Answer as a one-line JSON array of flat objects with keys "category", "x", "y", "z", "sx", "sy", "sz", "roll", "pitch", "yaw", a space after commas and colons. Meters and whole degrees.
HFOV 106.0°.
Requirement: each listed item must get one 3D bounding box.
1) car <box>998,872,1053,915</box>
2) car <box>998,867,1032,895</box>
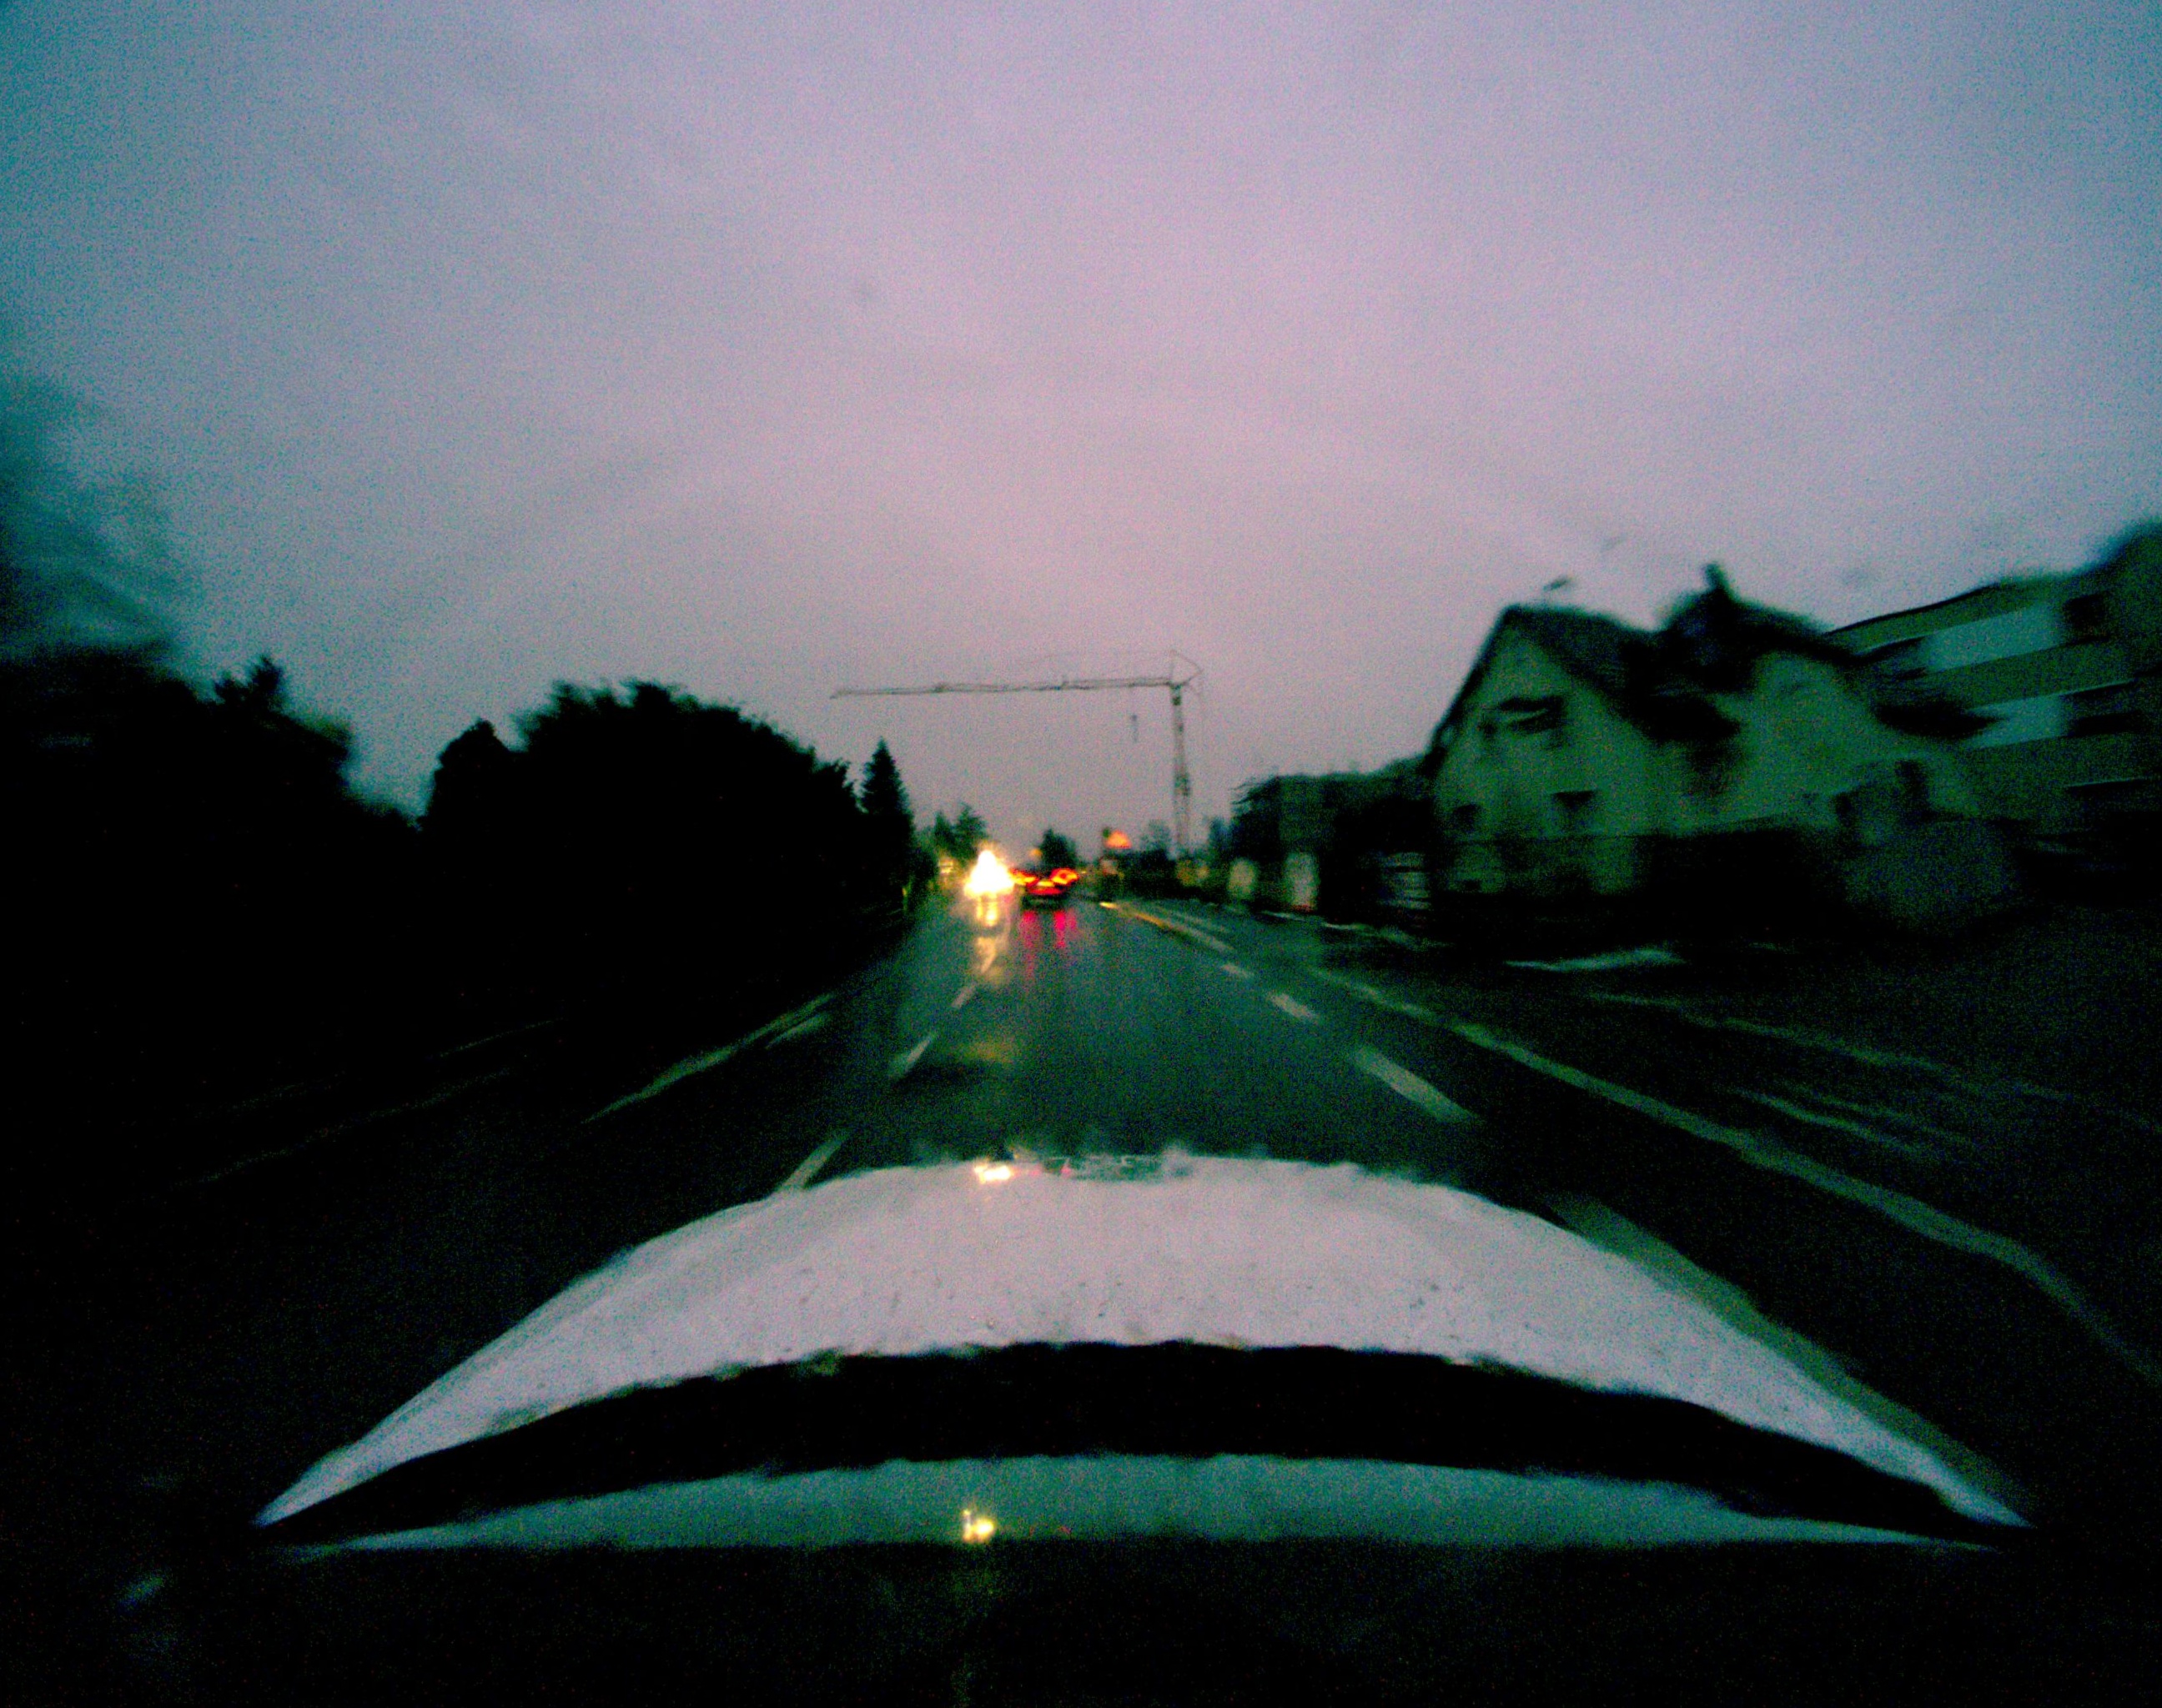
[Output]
[{"category": "car", "x": -2.368, "y": 1.593, "z": 33.634, "sx": 2.045, "sy": 1.573, "sz": 4.692, "roll": -2, "pitch": -2, "yaw": -6}, {"category": "car", "x": -4.906, "y": 1.947, "z": 59.867, "sx": 1.994, "sy": 1.882, "sz": 3.985, "roll": -3, "pitch": -1, "yaw": -10}]
